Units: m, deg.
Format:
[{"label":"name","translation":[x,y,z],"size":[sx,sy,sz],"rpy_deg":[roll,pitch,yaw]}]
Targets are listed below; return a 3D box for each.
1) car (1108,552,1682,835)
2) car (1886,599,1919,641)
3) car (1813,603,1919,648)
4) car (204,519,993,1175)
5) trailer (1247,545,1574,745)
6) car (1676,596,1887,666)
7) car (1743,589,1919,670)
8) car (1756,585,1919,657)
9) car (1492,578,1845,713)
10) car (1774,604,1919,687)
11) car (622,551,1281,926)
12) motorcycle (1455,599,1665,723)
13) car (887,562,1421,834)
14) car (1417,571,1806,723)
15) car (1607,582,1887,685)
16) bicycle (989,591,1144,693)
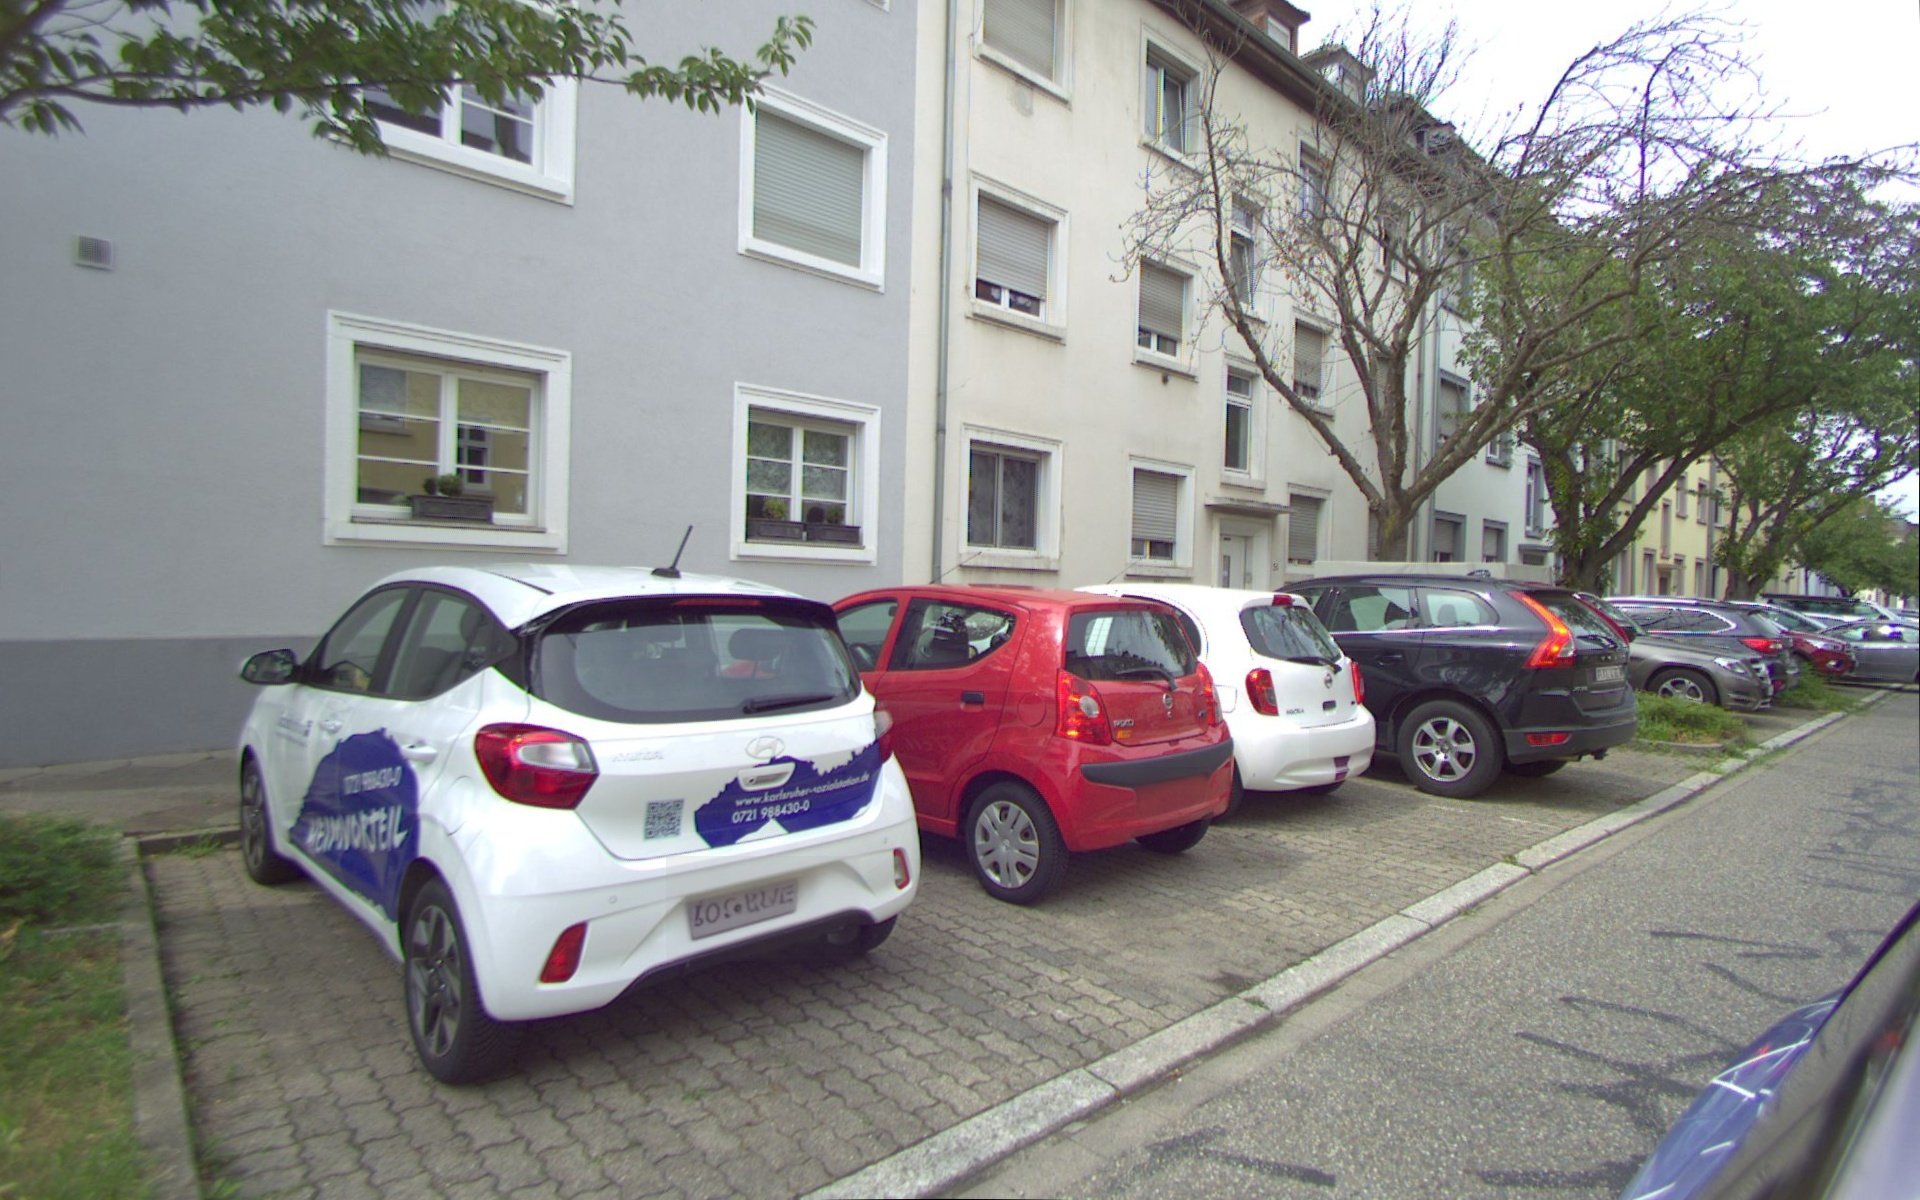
[{"label":"car","translation":[3.557,0.554,8.962],"size":[1.870,1.756,4.226],"rpy_deg":[1,3,-40]},{"label":"car","translation":[47.733,1.078,48.495],"size":[1.819,1.933,4.747],"rpy_deg":[0,3,-42]},{"label":"car","translation":[36.601,1.020,39.709],"size":[1.820,1.528,4.553],"rpy_deg":[0,4,-44]},{"label":"car","translation":[-1.918,0.487,4.468],"size":[1.739,1.548,3.991],"rpy_deg":[0,4,-45]},{"label":"trailer","translation":[4.907,0.378,11.306],"size":[1.375,1.853,2.969],"rpy_deg":[1,3,-38]},{"label":"car","translation":[21.183,0.733,26.221],"size":[1.610,1.437,3.994],"rpy_deg":[0,3,-42]},{"label":"car","translation":[20.464,0.662,22.966],"size":[1.610,1.554,3.994],"rpy_deg":[0,3,-42]},{"label":"car","translation":[29.860,0.670,33.527],"size":[5.232,2.047,2.041],"rpy_deg":[5,4,44]},{"label":"car","translation":[10.993,0.592,15.918],"size":[1.872,1.617,4.220],"rpy_deg":[0,4,-44]},{"label":"car","translation":[19.338,0.961,20.642],"size":[1.736,1.472,3.994],"rpy_deg":[0,3,-42]},{"label":"car","translation":[-0.319,0.508,6.226],"size":[1.739,1.427,3.991],"rpy_deg":[0,4,-45]},{"label":"motorcycle","translation":[7.792,0.735,13.233],"size":[0.703,1.427,2.227],"rpy_deg":[1,1,-44]},{"label":"car","translation":[1.308,0.526,7.956],"size":[1.832,1.459,3.756],"rpy_deg":[0,3,-41]},{"label":"car","translation":[8.970,0.517,14.202],"size":[1.872,1.617,4.220],"rpy_deg":[0,4,-44]},{"label":"car","translation":[16.159,0.594,20.961],"size":[1.870,1.698,4.226],"rpy_deg":[1,3,-40]},{"label":"bicycle","translation":[1.324,0.478,12.353],"size":[1.970,1.110,0.688],"rpy_deg":[0,3,-41]}]
